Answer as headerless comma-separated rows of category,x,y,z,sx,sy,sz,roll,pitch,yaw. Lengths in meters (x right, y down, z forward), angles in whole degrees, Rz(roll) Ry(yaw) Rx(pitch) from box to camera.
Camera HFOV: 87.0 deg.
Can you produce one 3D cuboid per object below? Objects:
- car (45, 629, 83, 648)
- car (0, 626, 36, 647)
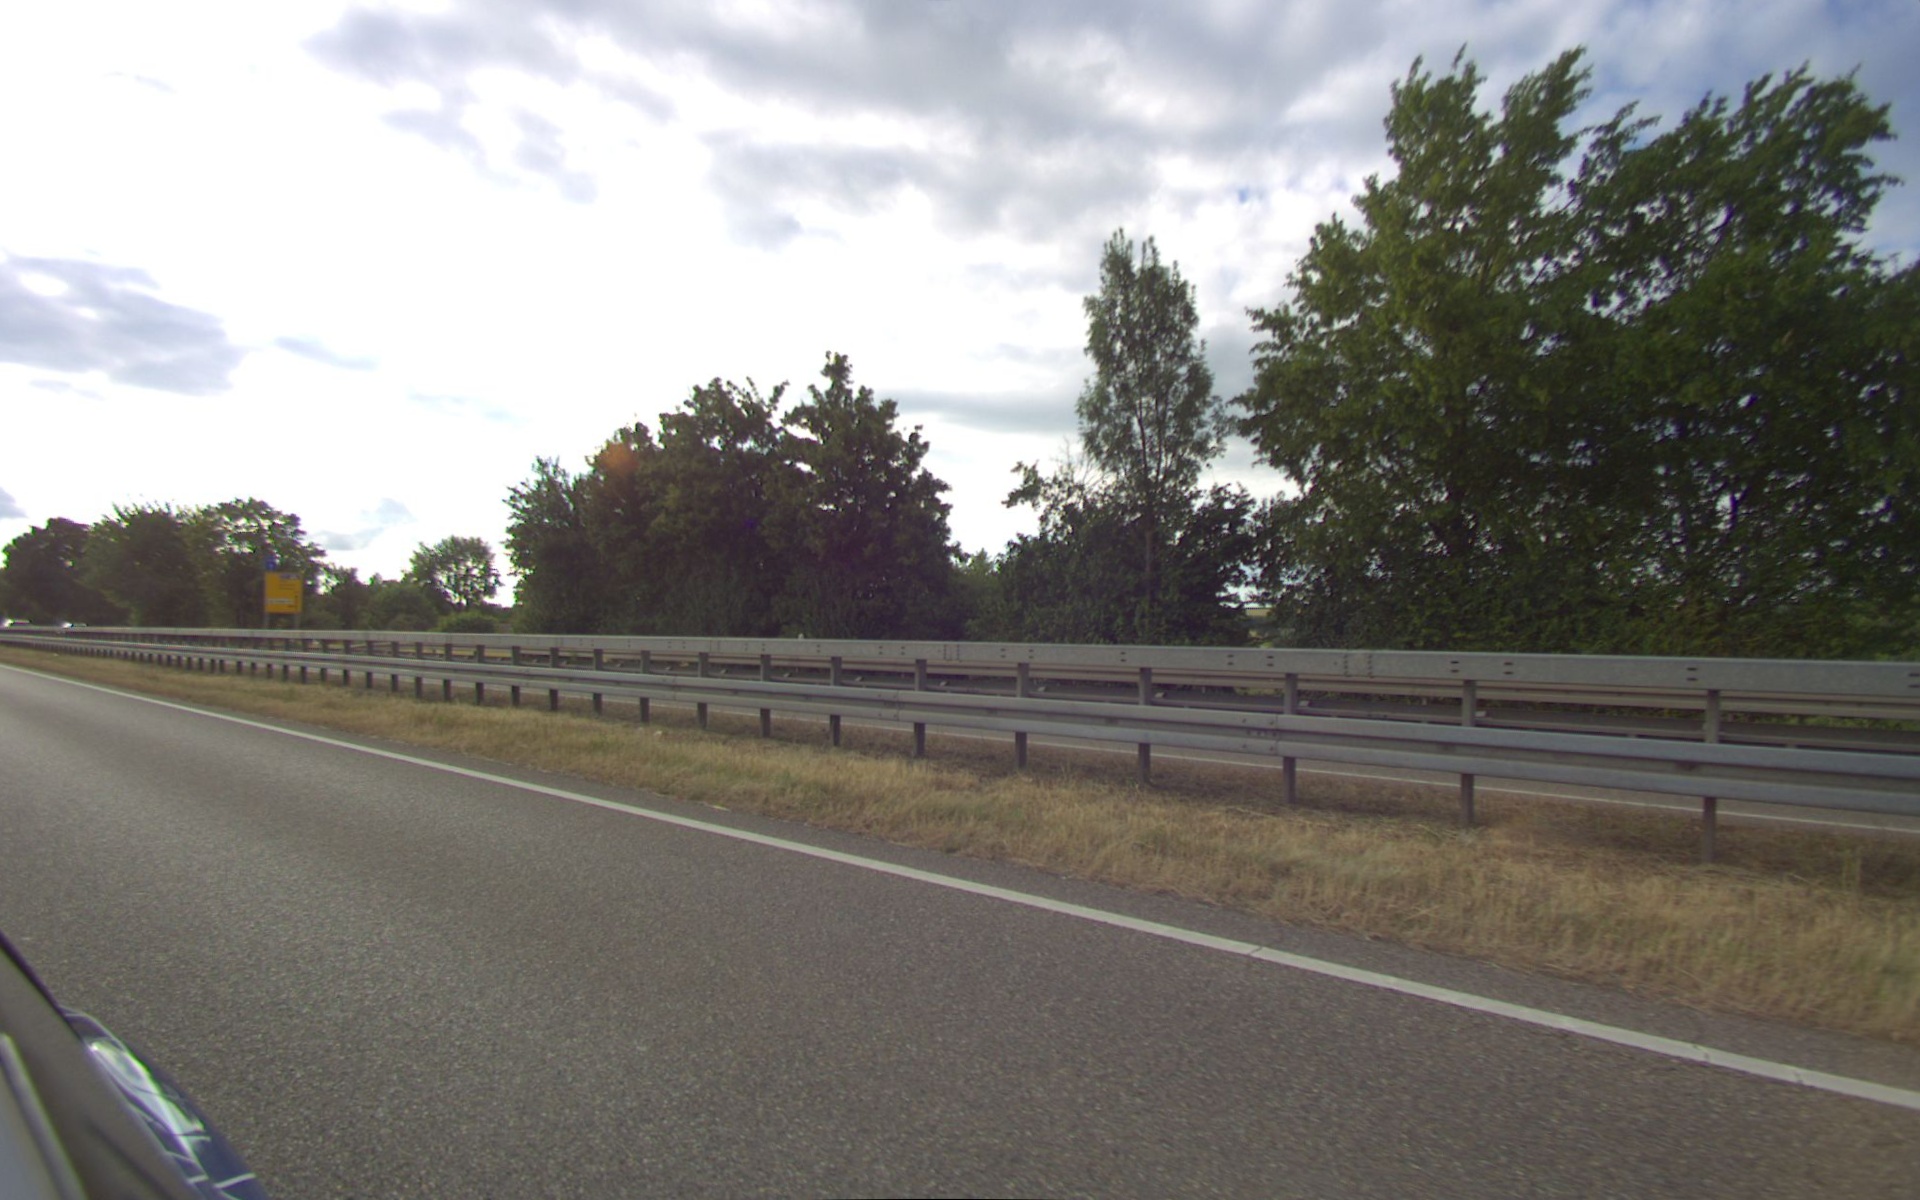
car,-76.496,3.265,86.371,4.459,1.489,1.887,-1,-1,41
car,-74.838,2.893,80.238,4.373,1.627,1.779,-1,-4,41
